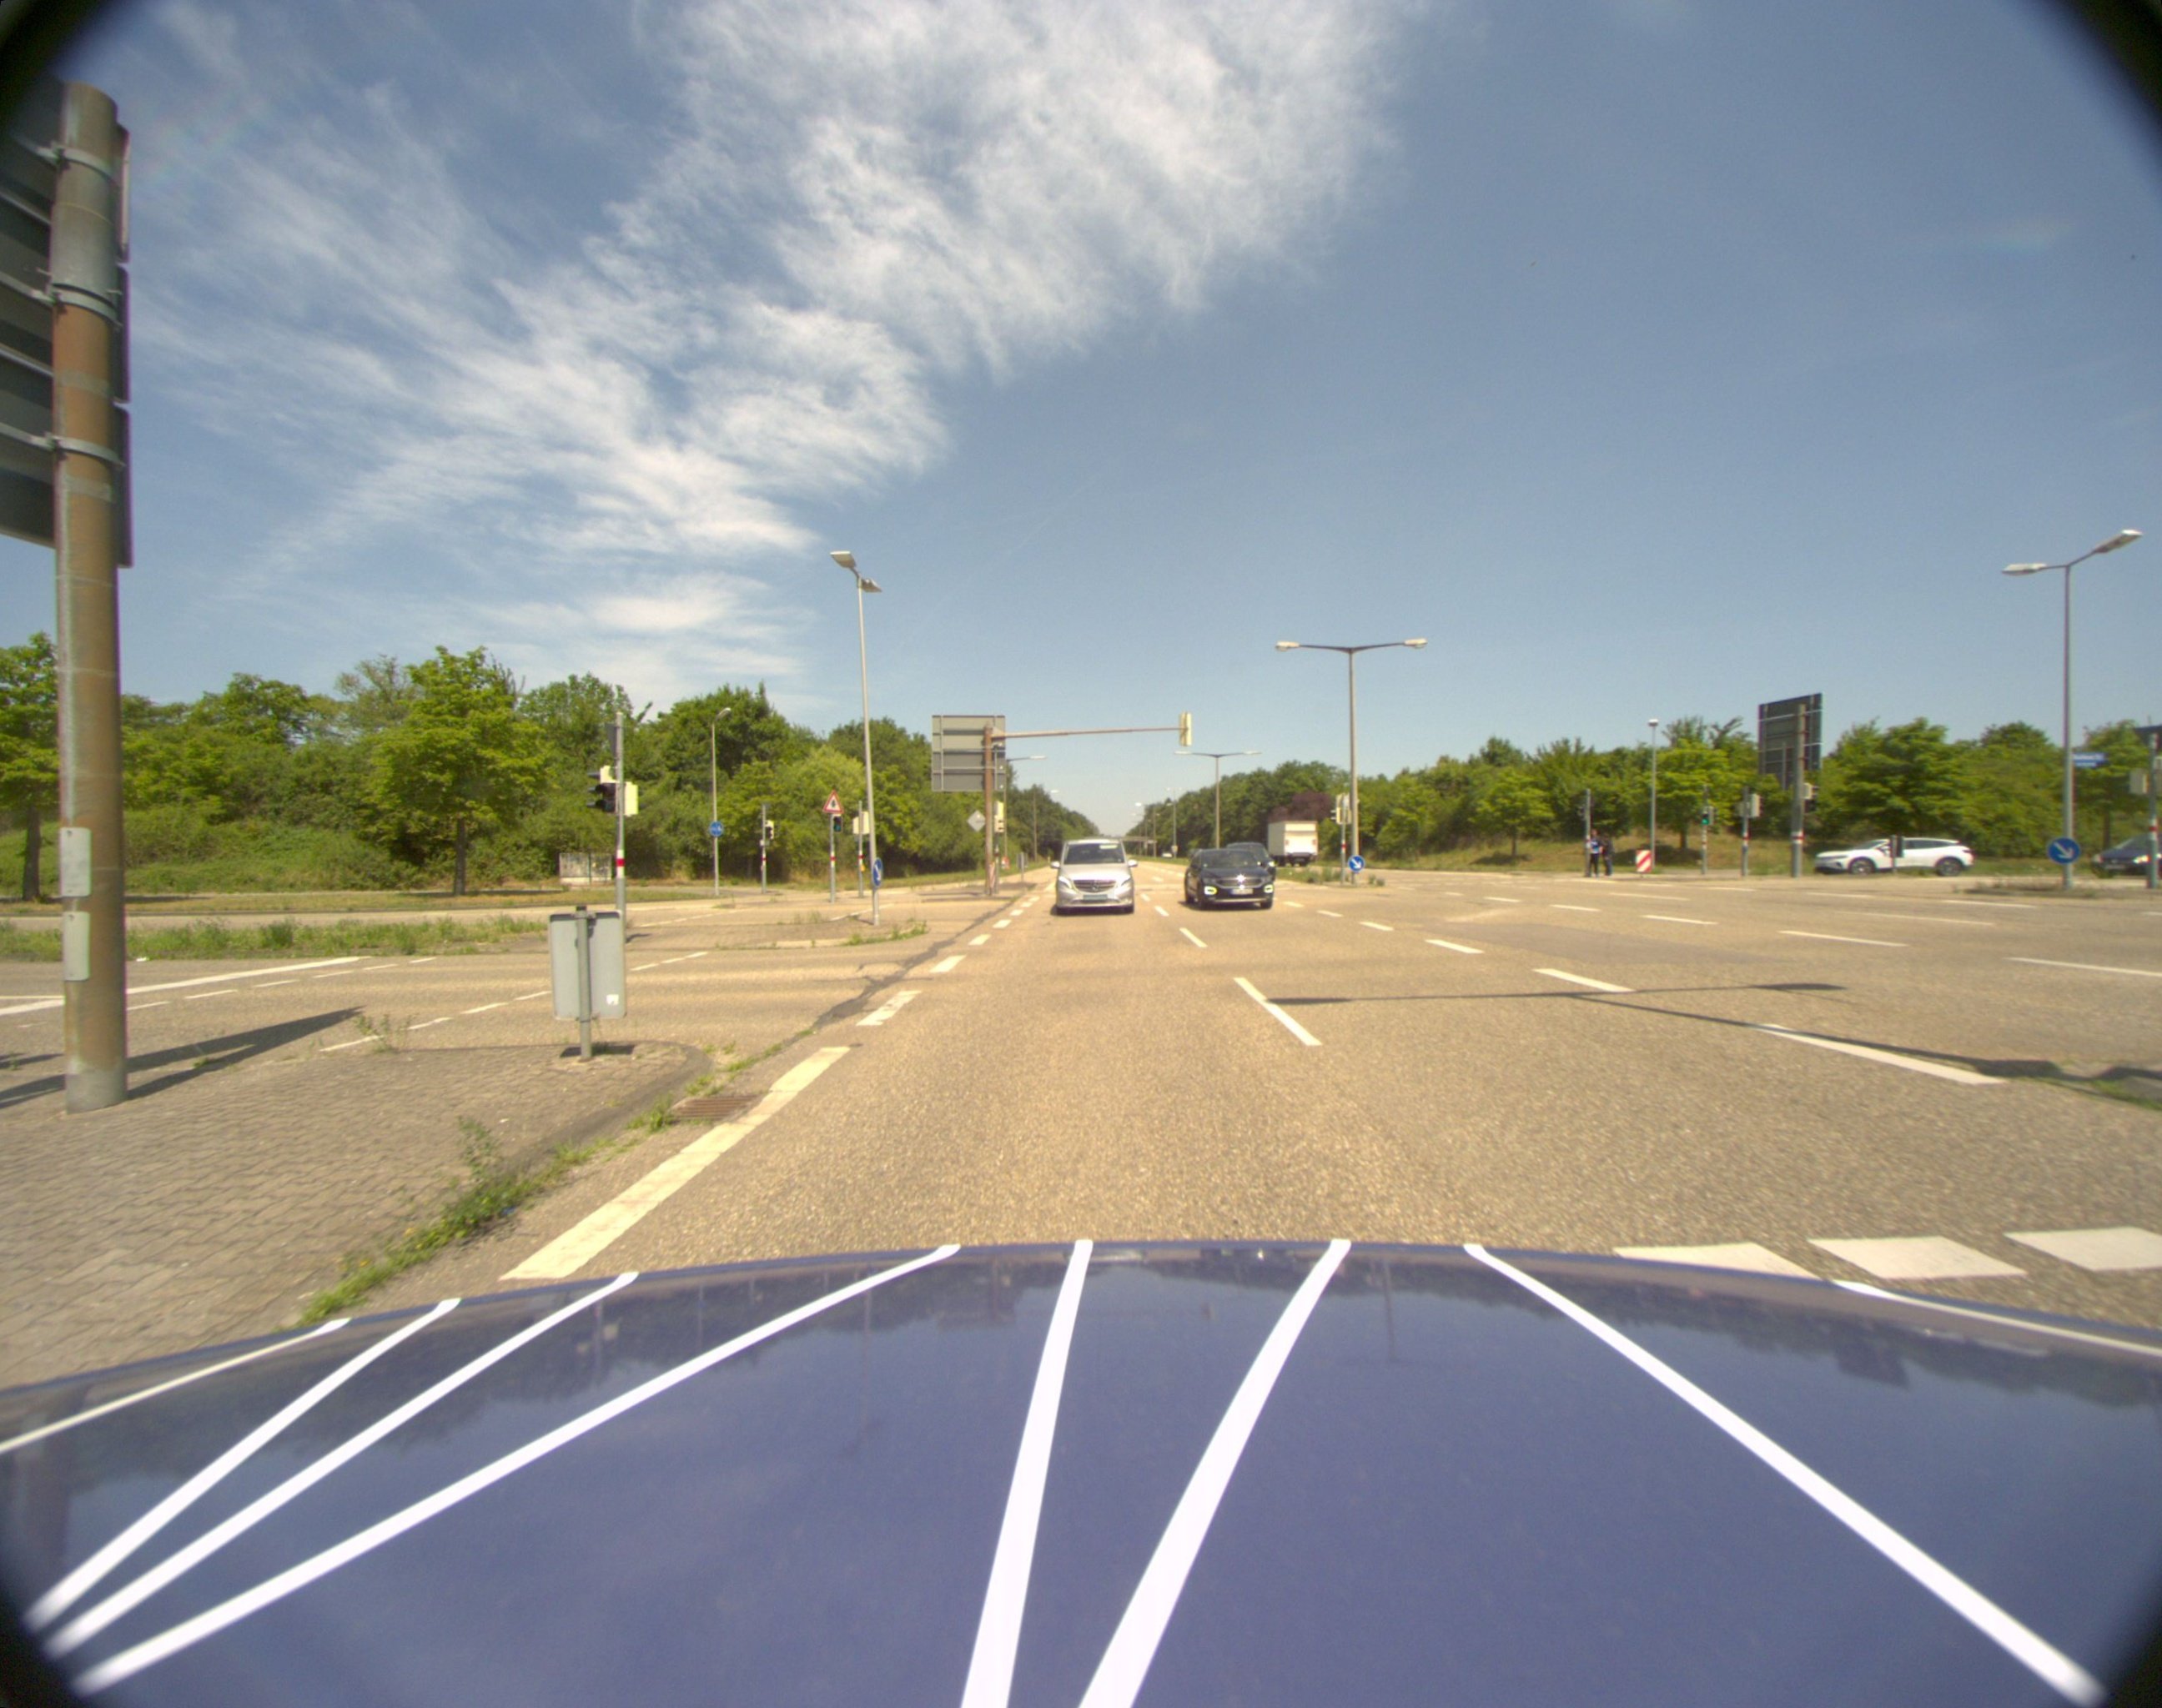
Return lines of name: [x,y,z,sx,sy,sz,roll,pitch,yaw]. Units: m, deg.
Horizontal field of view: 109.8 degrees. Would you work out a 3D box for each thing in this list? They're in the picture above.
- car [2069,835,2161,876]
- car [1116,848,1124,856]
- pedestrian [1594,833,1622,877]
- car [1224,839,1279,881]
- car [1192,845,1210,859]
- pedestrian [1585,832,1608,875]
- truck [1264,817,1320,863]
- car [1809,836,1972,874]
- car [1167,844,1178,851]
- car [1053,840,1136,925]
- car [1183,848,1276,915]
car: [36.219,0.021,25.531,3.998,1.328,1.702,-1,1,-3]
car: [8.408,-0.476,164.279,1.735,1.815,4.321,-1,1,2]
pedestrian: [20.483,0.039,29.564,0.723,1.690,0.776,-1,1,20]
car: [7.885,0.262,35.473,1.735,1.815,4.321,-1,1,2]
car: [15.190,-0.255,96.042,1.711,1.653,4.223,-1,0,2]
pedestrian: [20.650,-0.018,30.438,0.582,1.726,0.794,-1,1,21]
truck: [17.143,-1.101,62.286,2.694,3.550,7.267,-1,0,1]
car: [33.392,0.053,31.503,4.301,1.492,1.882,1,-2,13]
car: [19.776,-1.386,164.368,1.827,1.447,4.168,-1,0,-1]
car: [0.375,0.603,19.166,1.764,1.794,4.855,-2,1,2]
car: [3.788,0.643,20.013,1.738,1.503,3.970,-2,1,2]
